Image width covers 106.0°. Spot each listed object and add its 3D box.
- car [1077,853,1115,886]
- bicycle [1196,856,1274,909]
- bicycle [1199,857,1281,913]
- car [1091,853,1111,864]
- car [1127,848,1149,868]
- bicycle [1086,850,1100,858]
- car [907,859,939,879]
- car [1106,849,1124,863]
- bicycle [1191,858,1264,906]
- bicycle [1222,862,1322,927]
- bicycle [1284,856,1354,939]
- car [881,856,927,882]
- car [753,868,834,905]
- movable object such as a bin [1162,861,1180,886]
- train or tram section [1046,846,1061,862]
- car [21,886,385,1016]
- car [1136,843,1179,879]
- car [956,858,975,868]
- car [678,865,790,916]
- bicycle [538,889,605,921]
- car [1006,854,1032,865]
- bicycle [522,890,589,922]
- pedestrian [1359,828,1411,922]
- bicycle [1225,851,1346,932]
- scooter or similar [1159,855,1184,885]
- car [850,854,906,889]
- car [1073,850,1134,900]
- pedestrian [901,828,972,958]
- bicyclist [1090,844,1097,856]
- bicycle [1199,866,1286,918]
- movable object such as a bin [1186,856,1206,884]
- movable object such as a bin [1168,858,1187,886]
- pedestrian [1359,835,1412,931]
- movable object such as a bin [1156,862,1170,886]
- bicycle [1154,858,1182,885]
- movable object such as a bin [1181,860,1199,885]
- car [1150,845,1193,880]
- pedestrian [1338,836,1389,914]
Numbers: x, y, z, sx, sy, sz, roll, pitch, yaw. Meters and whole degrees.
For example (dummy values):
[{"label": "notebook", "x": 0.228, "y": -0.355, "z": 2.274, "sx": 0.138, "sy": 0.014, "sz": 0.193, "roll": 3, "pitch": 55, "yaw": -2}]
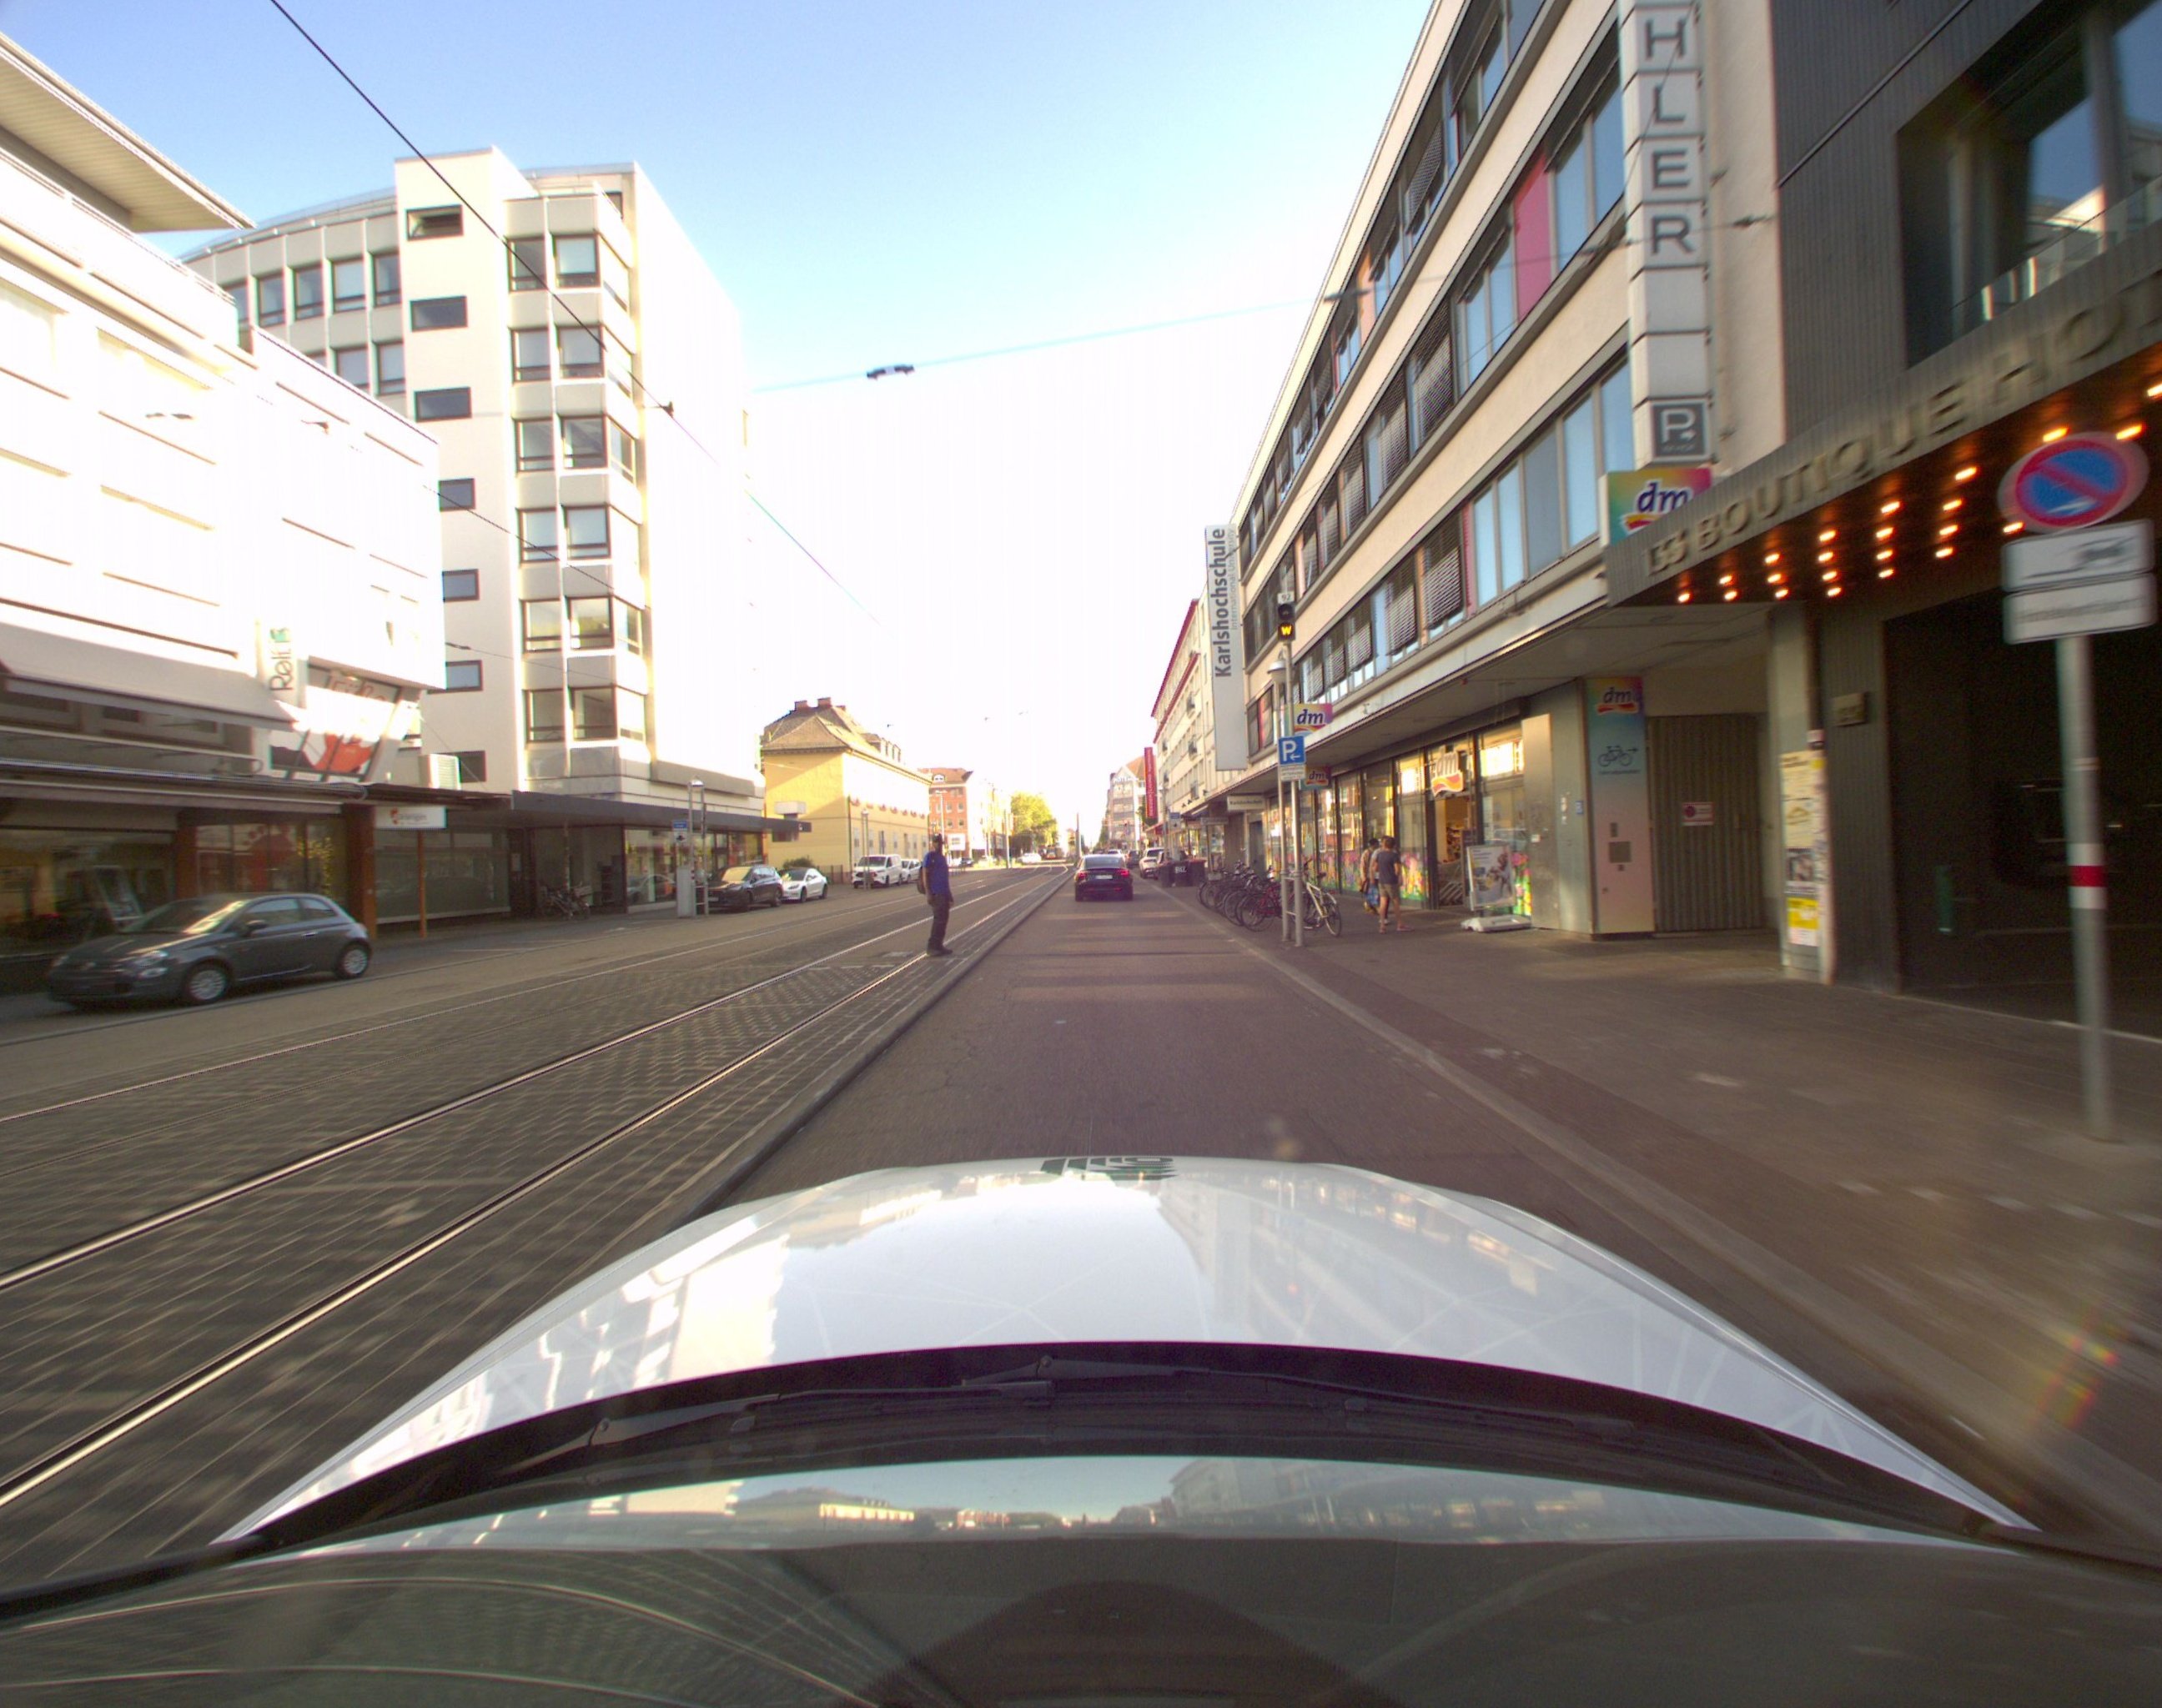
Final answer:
[{"label": "car", "x": 0.749, "y": 0.672, "z": 38.257, "sx": 1.647, "sy": 1.418, "sz": 4.002, "roll": -1, "pitch": 1, "yaw": 2}, {"label": "bicycle", "x": 3.844, "y": 0.705, "z": 20.399, "sx": 1.781, "sy": 1.217, "sz": 0.669, "roll": -3, "pitch": 0, "yaw": 0}, {"label": "bicycle", "x": 3.796, "y": 0.730, "z": 19.513, "sx": 1.781, "sy": 1.217, "sz": 0.587, "roll": -3, "pitch": 0, "yaw": 0}, {"label": "car", "x": 2.759, "y": 0.593, "z": 112.269, "sx": 1.825, "sy": 1.519, "sz": 4.201, "roll": 0, "pitch": 0, "yaw": -11}, {"label": "car", "x": 5.110, "y": 0.356, "z": 73.223, "sx": 1.739, "sy": 1.632, "sz": 3.650, "roll": -4, "pitch": 0, "yaw": 2}, {"label": "bicycle", "x": 1.525, "y": -0.001, "z": 102.019, "sx": 1.726, "sy": 1.088, "sz": 0.676, "roll": 0, "pitch": 0, "yaw": -7}, {"label": "car", "x": -11.771, "y": 1.102, "z": 60.819, "sx": 1.608, "sy": 1.400, "sz": 3.720, "roll": 0, "pitch": 0, "yaw": 1}, {"label": "car", "x": 3.802, "y": 0.199, "z": 91.763, "sx": 1.778, "sy": 1.519, "sz": 4.215, "roll": 0, "pitch": 0, "yaw": -2}, {"label": "bicycle", "x": 3.889, "y": 0.727, "z": 21.677, "sx": 1.781, "sy": 1.159, "sz": 0.669, "roll": -3, "pitch": 0, "yaw": 0}, {"label": "bicycle", "x": 3.672, "y": 0.771, "z": 15.712, "sx": 1.770, "sy": 1.130, "sz": 0.478, "roll": -3, "pitch": 0, "yaw": -5}, {"label": "bicycle", "x": 3.926, "y": 0.687, "z": 13.555, "sx": 0.579, "sy": 1.257, "sz": 1.601, "roll": -5, "pitch": 0, "yaw": -1}, {"label": "car", "x": -11.886, "y": 1.002, "z": 54.981, "sx": 1.800, "sy": 1.685, "sz": 4.653, "roll": 0, "pitch": 0, "yaw": 4}, {"label": "car", "x": -12.401, "y": 1.347, "z": 35.468, "sx": 1.882, "sy": 1.421, "sz": 4.655, "roll": 0, "pitch": 0, "yaw": 0}, {"label": "movable object such as a bin", "x": 3.770, "y": 0.817, "z": 34.081, "sx": 0.683, "sy": 1.014, "sz": 0.508, "roll": -3, "pitch": 0, "yaw": 3}, {"label": "train or tram section", "x": -6.480, "y": 0.028, "z": 193.653, "sx": 2.664, "sy": 3.715, "sz": 14.198, "roll": -1, "pitch": 0, "yaw": 2}, {"label": "car", "x": -12.791, "y": 1.310, "z": 12.239, "sx": 1.596, "sy": 1.523, "sz": 3.587, "roll": 0, "pitch": 0, "yaw": -1}, {"label": "car", "x": 4.205, "y": 0.385, "z": 45.445, "sx": 1.843, "sy": 1.724, "sz": 5.193, "roll": -4, "pitch": 0, "yaw": 1}, {"label": "car", "x": -16.869, "y": 1.351, "z": 119.097, "sx": 1.895, "sy": 1.464, "sz": 4.003, "roll": 0, "pitch": 0, "yaw": 3}, {"label": "car", "x": -12.513, "y": 1.258, "z": 29.752, "sx": 1.971, "sy": 1.678, "sz": 4.657, "roll": 0, "pitch": 0, "yaw": 2}, {"label": "bicycle", "x": -16.603, "y": 1.653, "z": 26.538, "sx": 1.929, "sy": 0.999, "sz": 0.424, "roll": 0, "pitch": -1, "yaw": 1}, {"label": "car", "x": -10.419, "y": 0.928, "z": 136.758, "sx": 4.002, "sy": 1.677, "sz": 1.986, "roll": -3, "pitch": 0, "yaw": -21}, {"label": "bicycle", "x": -16.858, "y": 1.663, "z": 26.120, "sx": 1.929, "sy": 0.999, "sz": 0.381, "roll": 0, "pitch": -1, "yaw": 1}, {"label": "pedestrian", "x": 5.405, "y": 0.369, "z": 14.509, "sx": 0.579, "sy": 1.585, "sz": 0.597, "roll": -5, "pitch": 0, "yaw": -1}, {"label": "bicycle", "x": 3.761, "y": 0.671, "z": 15.037, "sx": 2.035, "sy": 1.274, "sz": 0.523, "roll": -5, "pitch": 0, "yaw": -9}, {"label": "scooter or similar", "x": 3.937, "y": 0.674, "z": 35.470, "sx": 0.989, "sy": 1.231, "sz": 0.320, "roll": -4, "pitch": -1, "yaw": -1}, {"label": "car", "x": -12.075, "y": 0.978, "z": 48.793, "sx": 1.987, "sy": 1.975, "sz": 5.097, "roll": 0, "pitch": 0, "yaw": 1}, {"label": "car", "x": 0.703, "y": 0.651, "z": 26.717, "sx": 1.843, "sy": 1.484, "sz": 3.787, "roll": -1, "pitch": 0, "yaw": 0}, {"label": "pedestrian", "x": -2.143, "y": 0.565, "z": 12.157, "sx": 0.801, "sy": 1.837, "sz": 0.746, "roll": -4, "pitch": 0, "yaw": -1}, {"label": "bicyclist", "x": 1.598, "y": -0.466, "z": 102.062, "sx": 0.835, "sy": 1.500, "sz": 0.559, "roll": 0, "pitch": -1, "yaw": -7}, {"label": "bicycle", "x": 3.581, "y": 0.830, "z": 18.146, "sx": 1.767, "sy": 1.032, "sz": 0.597, "roll": -3, "pitch": 0, "yaw": 0}, {"label": "movable object such as a bin", "x": 4.700, "y": 0.654, "z": 33.340, "sx": 0.687, "sy": 1.089, "sz": 0.666, "roll": -3, "pitch": -1, "yaw": 4}, {"label": "movable object such as a bin", "x": 3.952, "y": 0.738, "z": 33.388, "sx": 0.687, "sy": 1.089, "sz": 0.686, "roll": -3, "pitch": -1, "yaw": 4}, {"label": "pedestrian", "x": 4.922, "y": 0.459, "z": 13.196, "sx": 0.522, "sy": 1.493, "sz": 0.583, "roll": -5, "pitch": 0, "yaw": -1}, {"label": "movable object such as a bin", "x": 3.367, "y": 0.816, "z": 33.513, "sx": 0.485, "sy": 0.958, "sz": 0.458, "roll": -3, "pitch": -1, "yaw": 4}, {"label": "bicycle", "x": 3.838, "y": 0.769, "z": 36.103, "sx": 1.127, "sy": 1.079, "sz": 0.320, "roll": -4, "pitch": -1, "yaw": -1}, {"label": "movable object such as a bin", "x": 4.548, "y": 0.758, "z": 34.047, "sx": 0.655, "sy": 1.014, "sz": 0.637, "roll": -3, "pitch": 0, "yaw": 3}, {"label": "car", "x": 4.421, "y": 0.402, "z": 40.248, "sx": 1.609, "sy": 1.528, "sz": 4.070, "roll": -3, "pitch": 0, "yaw": 1}, {"label": "pedestrian", "x": 5.572, "y": 0.411, "z": 16.073, "sx": 0.585, "sy": 1.486, "sz": 0.591, "roll": -4, "pitch": -1, "yaw": -30}]
